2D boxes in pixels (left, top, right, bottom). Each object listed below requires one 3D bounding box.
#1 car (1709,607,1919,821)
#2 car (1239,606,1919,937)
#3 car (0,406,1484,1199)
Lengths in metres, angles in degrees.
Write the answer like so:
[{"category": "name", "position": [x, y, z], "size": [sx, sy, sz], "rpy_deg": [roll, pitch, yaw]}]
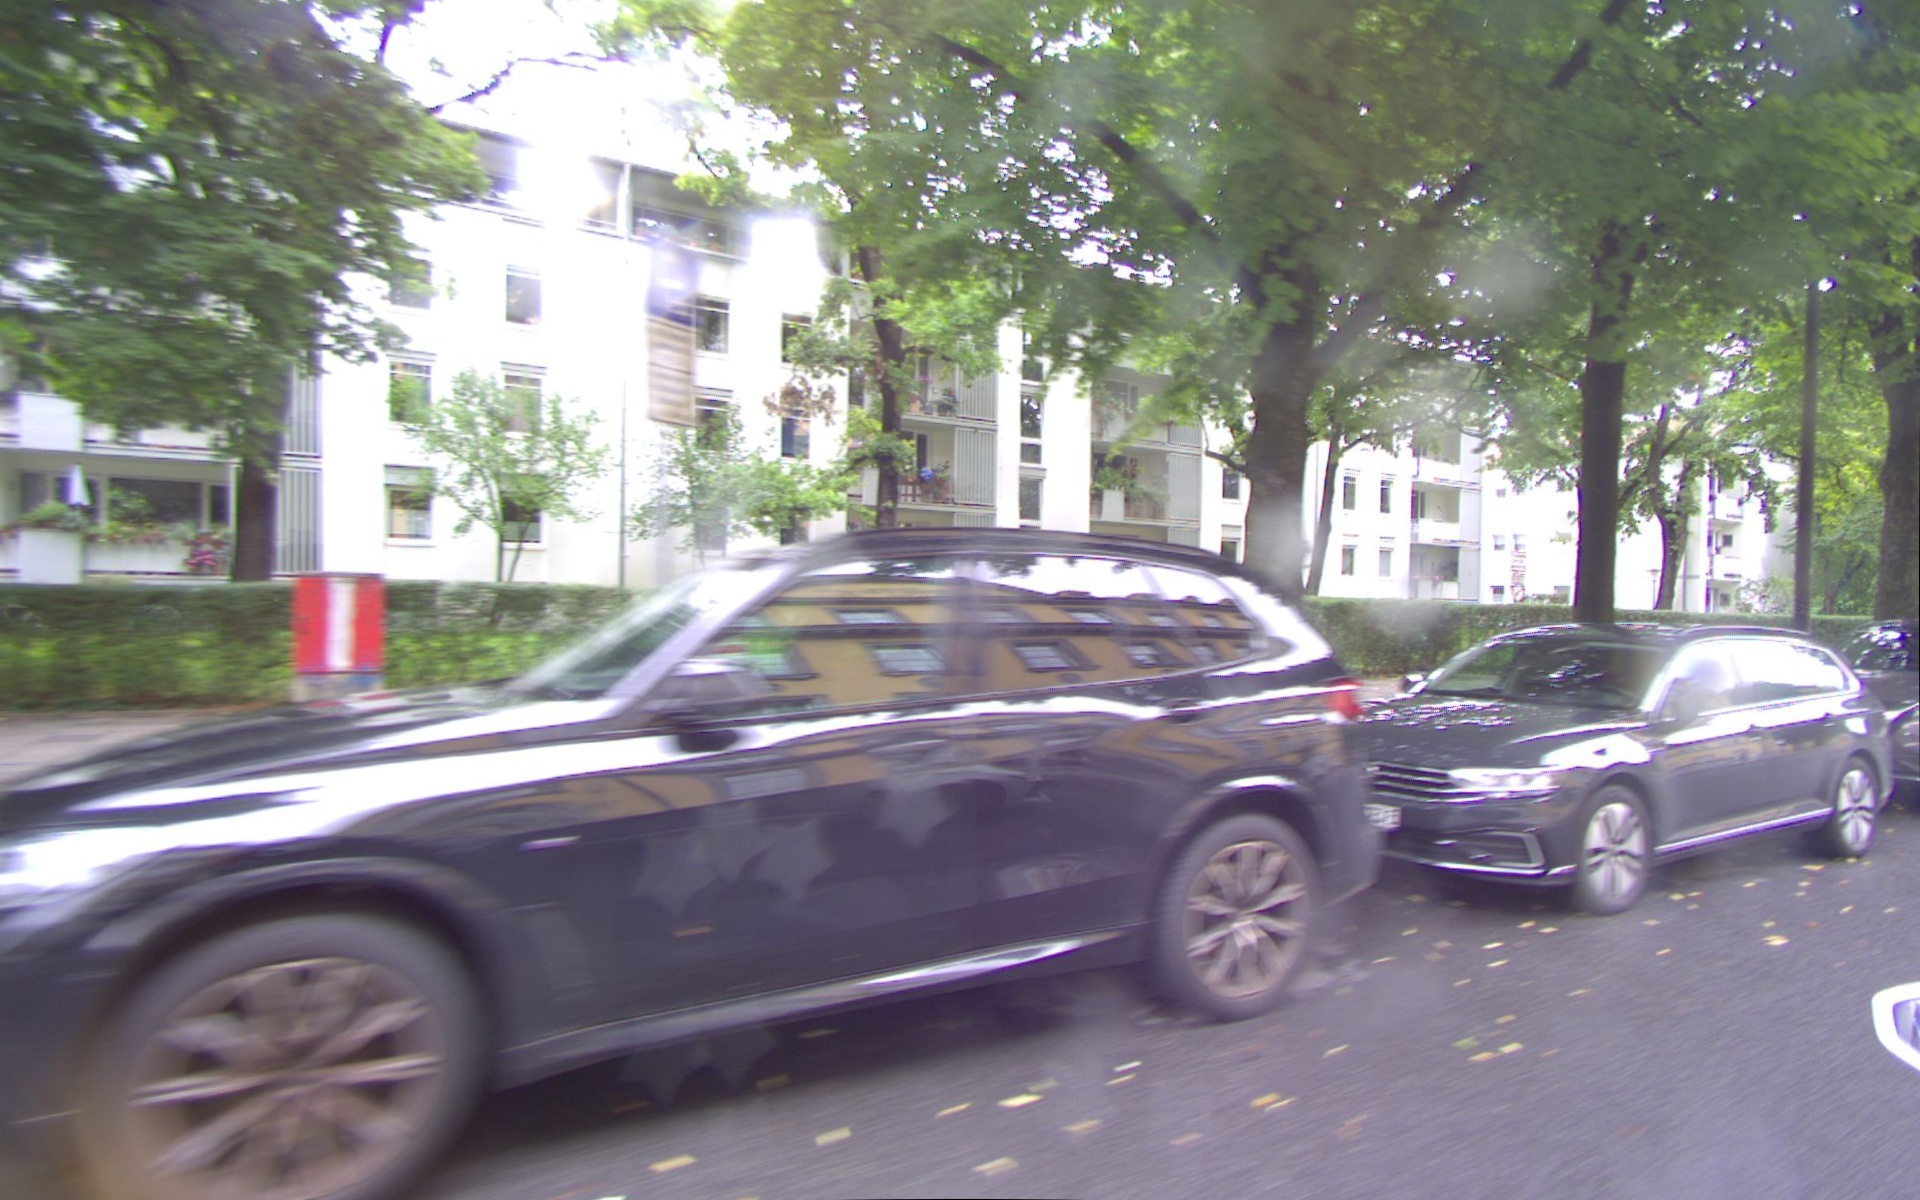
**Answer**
[{"category": "car", "position": [8.969, 0.906, 9.171], "size": [4.432, 1.595, 1.778], "rpy_deg": [1, 0, -29]}, {"category": "car", "position": [4.142, 0.838, 6.405], "size": [4.636, 1.470, 1.712], "rpy_deg": [1, 0, -28]}, {"category": "car", "position": [-0.426, 0.586, 3.914], "size": [4.858, 1.821, 1.986], "rpy_deg": [1, -1, -28]}]
